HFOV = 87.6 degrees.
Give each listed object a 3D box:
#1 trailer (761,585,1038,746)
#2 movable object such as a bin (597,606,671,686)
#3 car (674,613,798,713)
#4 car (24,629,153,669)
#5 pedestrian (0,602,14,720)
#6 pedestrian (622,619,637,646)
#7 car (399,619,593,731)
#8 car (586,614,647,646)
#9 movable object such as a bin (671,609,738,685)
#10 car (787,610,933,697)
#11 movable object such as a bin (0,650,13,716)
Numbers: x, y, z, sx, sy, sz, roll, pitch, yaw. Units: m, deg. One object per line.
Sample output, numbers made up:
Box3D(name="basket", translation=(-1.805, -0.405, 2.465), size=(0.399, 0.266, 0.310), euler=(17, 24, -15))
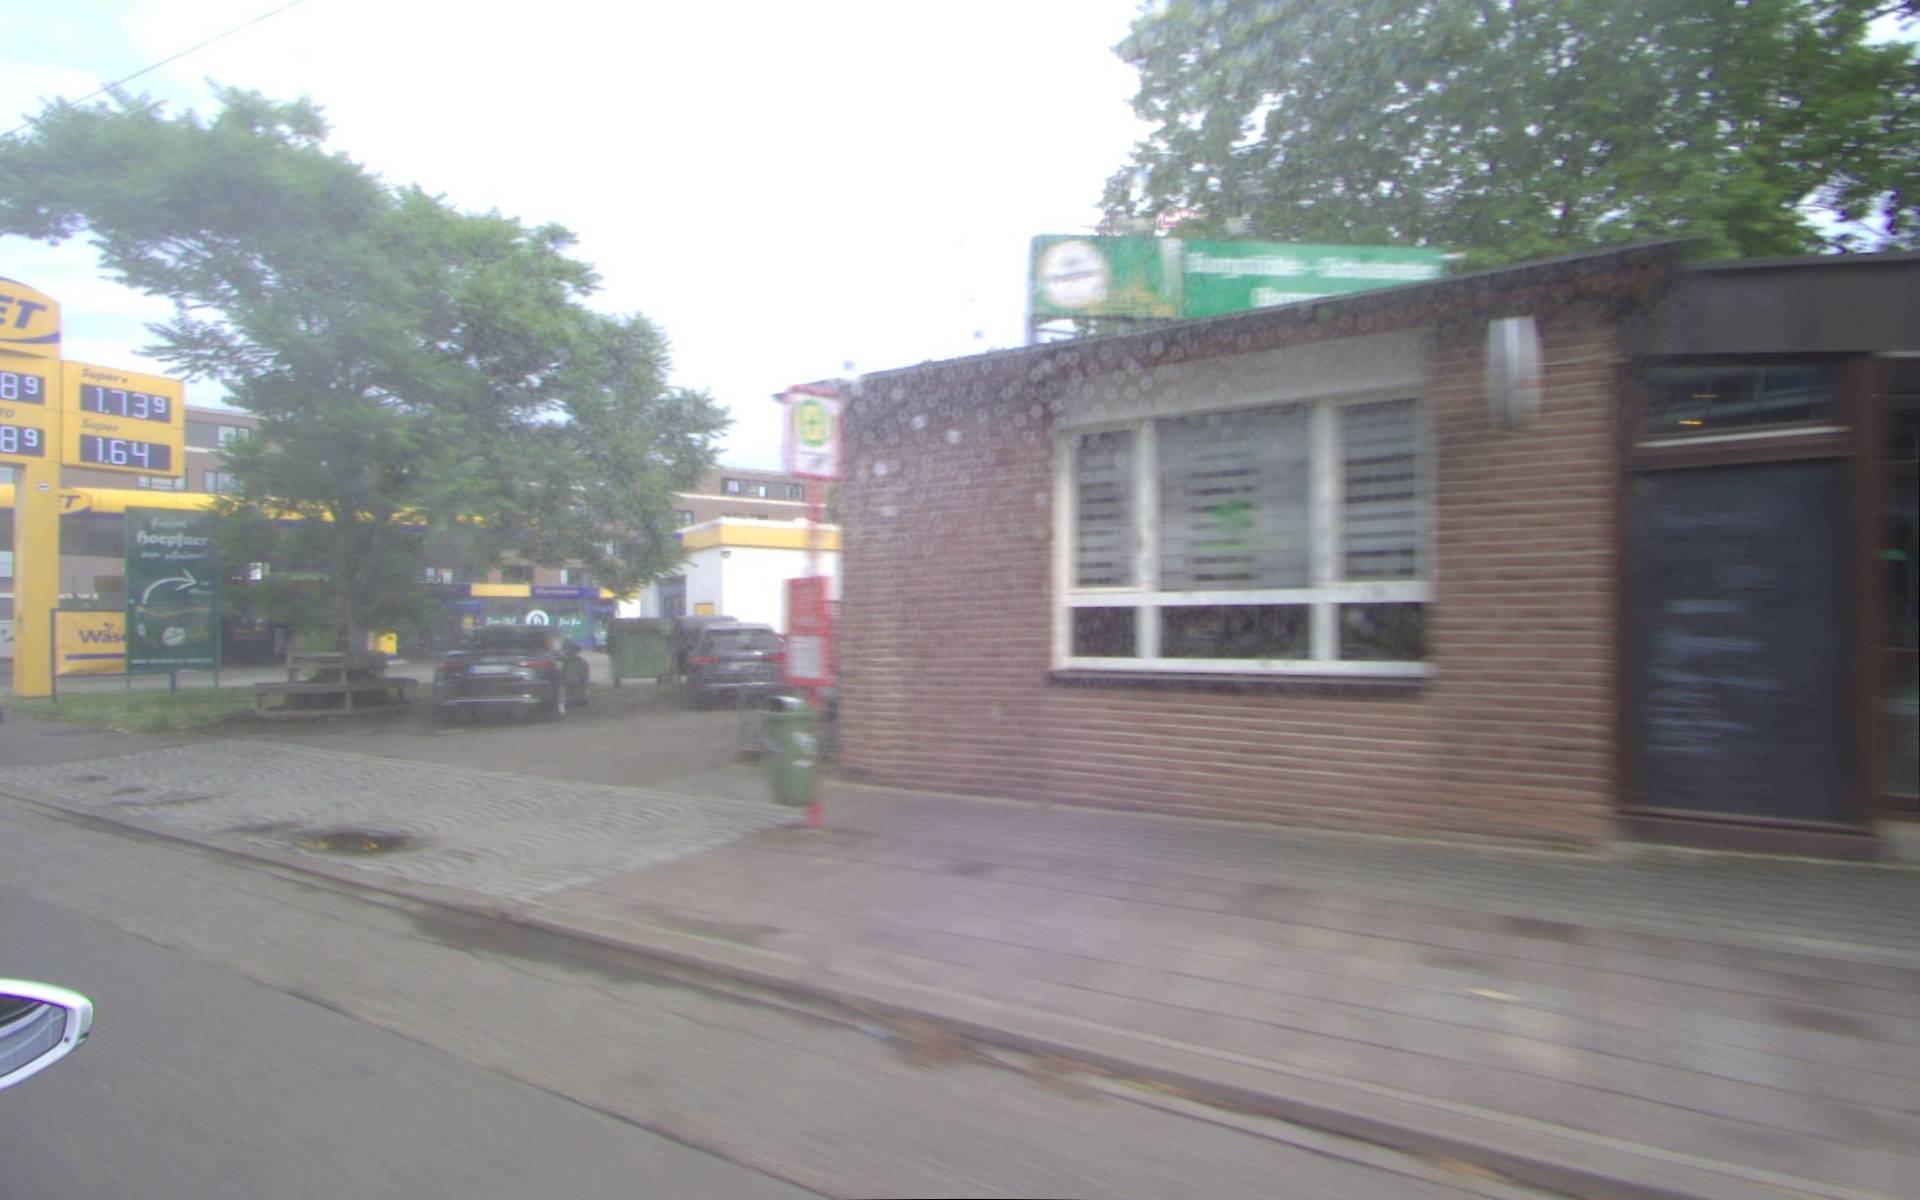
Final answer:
Box3D(name="trailer", translation=(-0.576, 0.690, 11.438), size=(1.598, 1.558, 3.155), euler=(-1, -2, 33))
Box3D(name="movable object such as a bin", translation=(-6.688, 0.927, 20.629), size=(1.397, 1.535, 1.121), euler=(1, 3, -16))
Box3D(name="car", translation=(-4.105, 1.006, 18.014), size=(1.844, 1.446, 4.534), euler=(-2, 0, -15))
Box3D(name="car", translation=(-33.617, 1.854, 38.626), size=(4.806, 1.446, 1.947), euler=(-1, -1, 25))
Box3D(name="pedestrian", translation=(-15.431, 0.961, 15.732), size=(0.762, 1.821, 1.151), euler=(-2, 1, -43))
Box3D(name="pedestrian", translation=(-17.279, 1.703, 52.352), size=(0.573, 1.363, 0.608), euler=(2, -3, -33))
Box3D(name="car", translation=(-7.094, 1.047, 15.820), size=(1.900, 1.426, 4.578), euler=(0, 0, -14))
Box3D(name="car", translation=(-18.750, 1.680, 54.528), size=(1.818, 1.658, 4.447), euler=(2, -4, -37))
Box3D(name="movable object such as a bin", translation=(-5.364, 0.970, 20.972), size=(1.272, 1.510, 1.121), euler=(2, 1, -17))
Box3D(name="car", translation=(-2.118, 0.959, 19.912), size=(1.951, 1.478, 4.480), euler=(0, 0, -18))
Box3D(name="movable object such as a bin", translation=(-16.051, 1.366, 16.387), size=(0.762, 1.053, 1.014), euler=(-2, 1, -43))
